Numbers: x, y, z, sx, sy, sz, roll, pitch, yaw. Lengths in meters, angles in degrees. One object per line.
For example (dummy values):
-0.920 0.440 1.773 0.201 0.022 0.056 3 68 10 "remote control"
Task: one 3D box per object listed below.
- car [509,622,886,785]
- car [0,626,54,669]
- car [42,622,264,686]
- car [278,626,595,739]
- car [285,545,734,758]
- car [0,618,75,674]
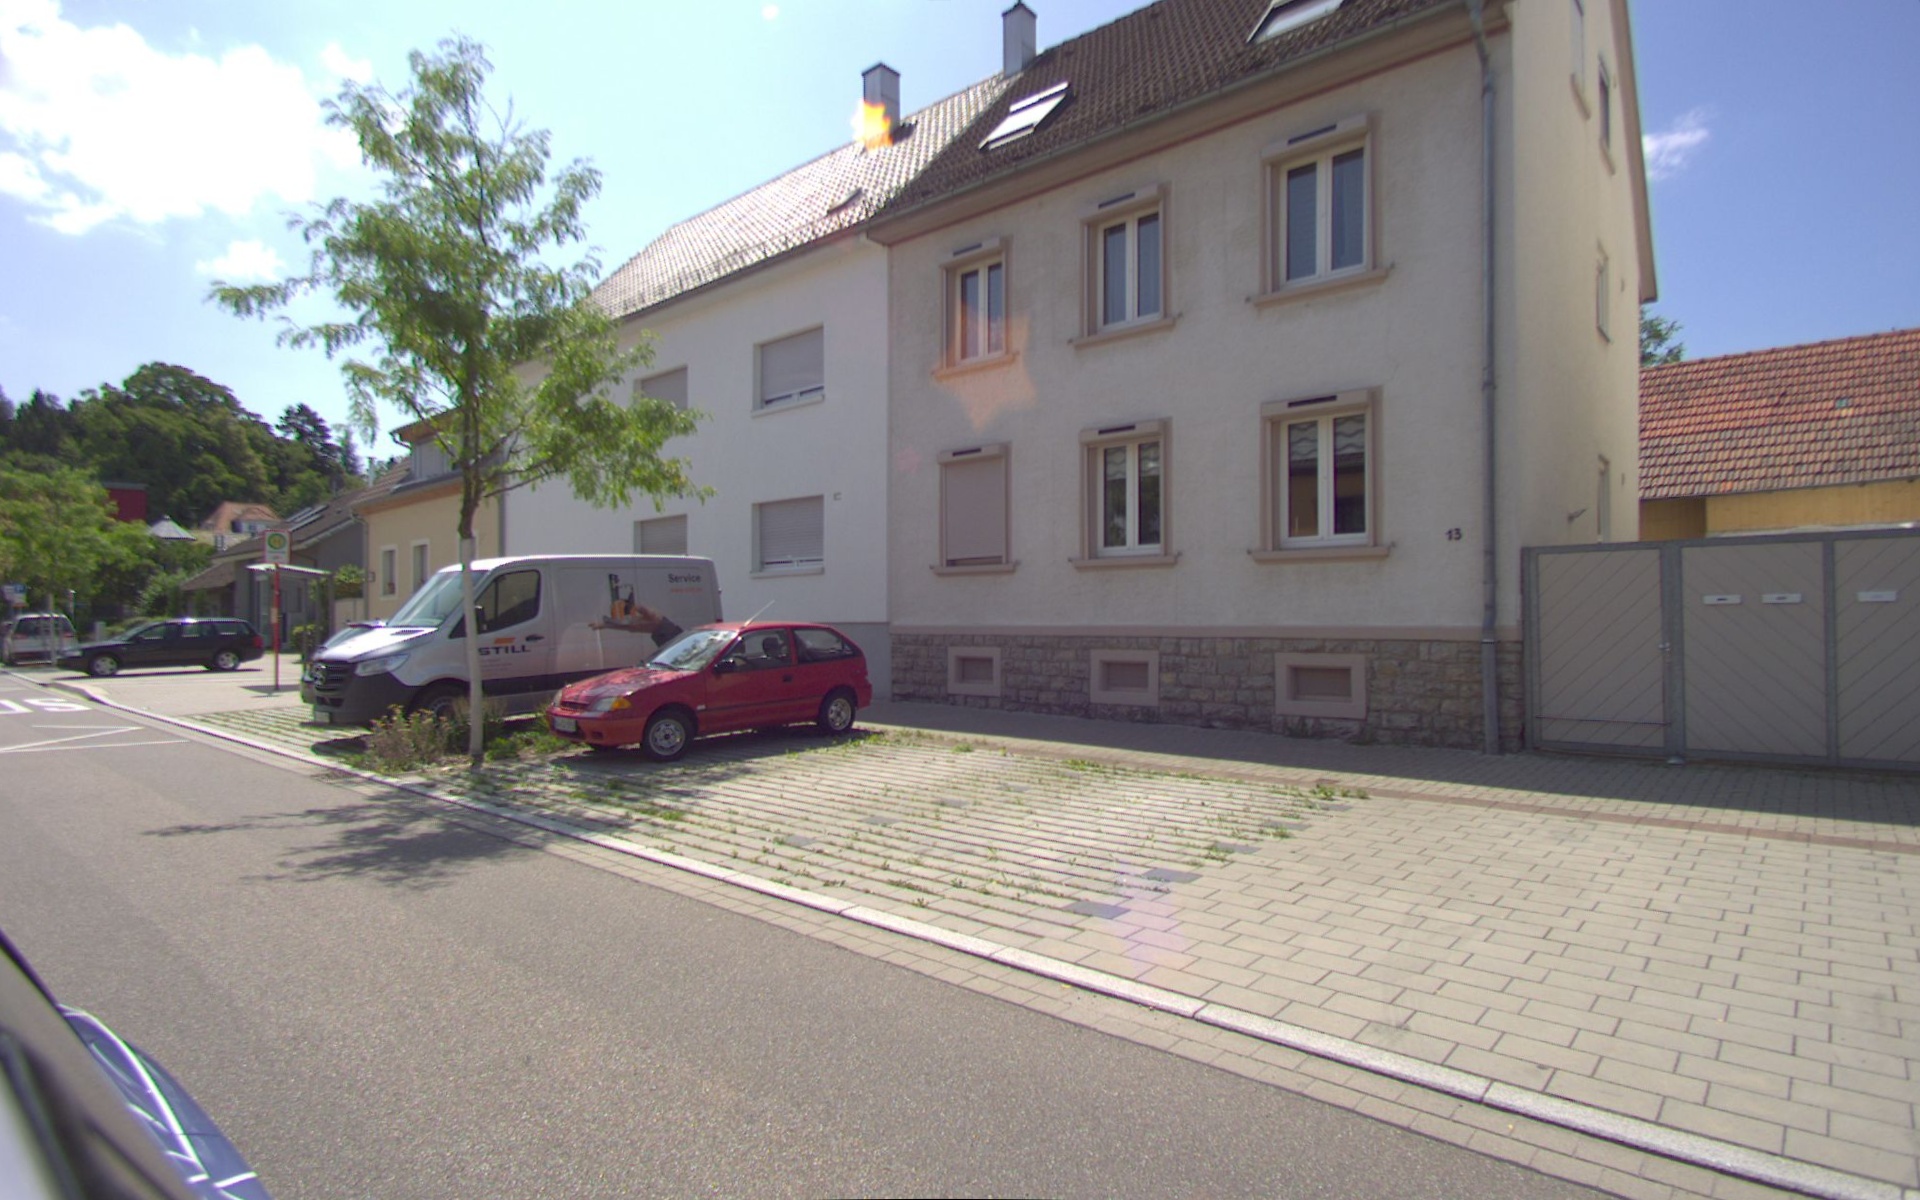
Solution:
-2.778 0.989 11.280 1.725 1.396 3.743 -1 0 42 "car"
-36.333 1.847 38.914 3.906 1.536 1.705 -3 -1 40 "car"
-22.187 1.426 27.965 1.901 1.528 4.539 -2 -1 41 "car"
-7.937 1.151 15.633 1.899 1.457 3.948 -2 -1 39 "car"
-5.791 0.554 13.647 2.155 2.305 5.115 -2 0 39 "car"
-31.921 1.576 34.763 4.686 1.761 1.819 -3 -1 43 "car"
